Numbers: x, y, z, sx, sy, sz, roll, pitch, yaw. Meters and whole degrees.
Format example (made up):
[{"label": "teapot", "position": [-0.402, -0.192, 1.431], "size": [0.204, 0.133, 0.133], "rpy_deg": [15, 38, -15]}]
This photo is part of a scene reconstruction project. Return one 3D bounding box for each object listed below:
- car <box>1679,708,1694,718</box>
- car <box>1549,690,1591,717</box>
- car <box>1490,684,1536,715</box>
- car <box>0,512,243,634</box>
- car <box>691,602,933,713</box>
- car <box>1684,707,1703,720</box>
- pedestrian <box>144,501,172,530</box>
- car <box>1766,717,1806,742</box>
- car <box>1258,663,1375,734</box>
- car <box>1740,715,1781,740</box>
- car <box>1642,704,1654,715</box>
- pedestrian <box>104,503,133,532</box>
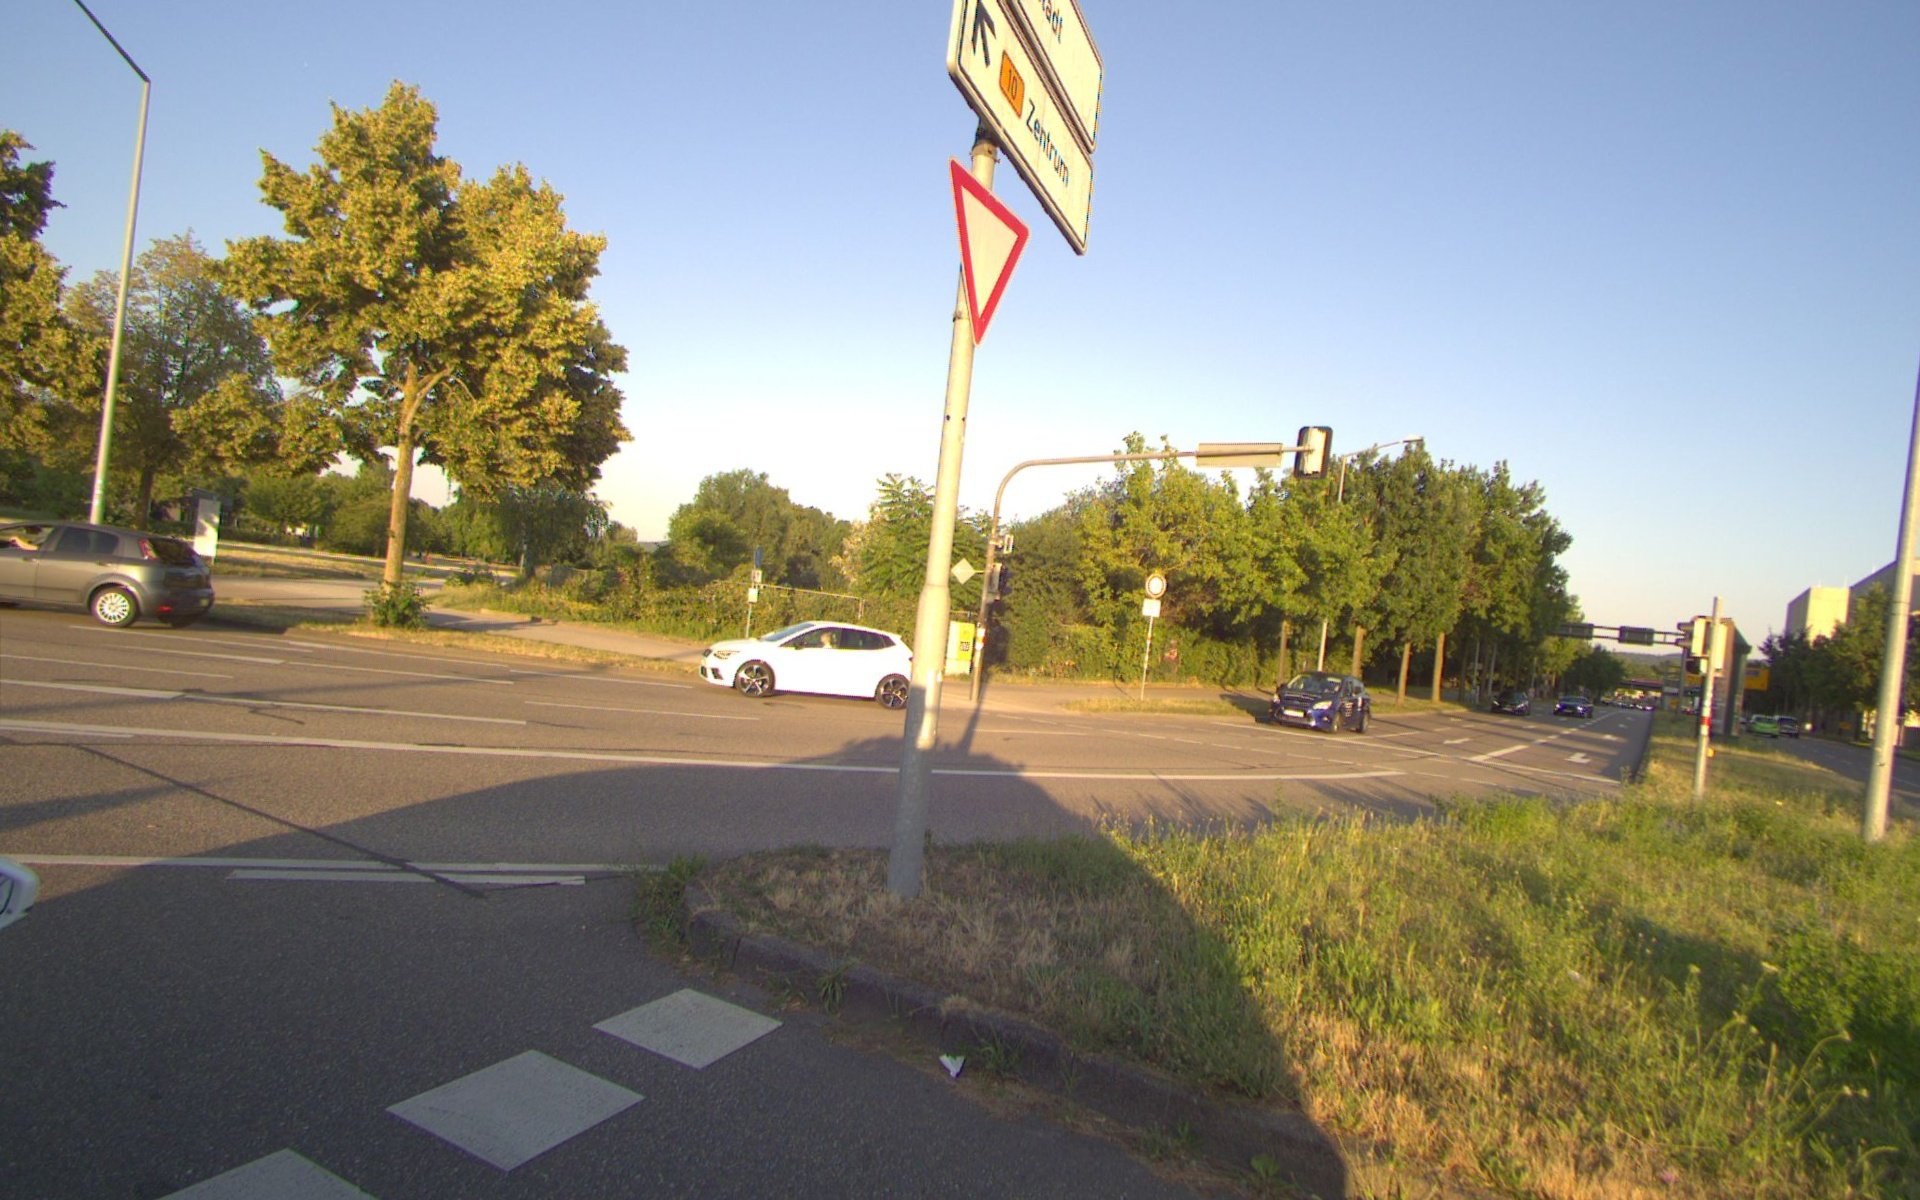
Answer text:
[{"label": "car", "position": [141.481, 21.922, 195.882], "size": [1.968, 1.648, 3.990], "rpy_deg": [7, -1, 34]}, {"label": "car", "position": [41.414, 7.021, 68.269], "size": [1.969, 1.523, 4.758], "rpy_deg": [7, -1, 35]}, {"label": "car", "position": [33.746, 6.081, 61.342], "size": [1.968, 1.523, 4.609], "rpy_deg": [7, -1, 34]}, {"label": "car", "position": [-13.834, -0.490, 15.438], "size": [4.092, 1.471, 1.865], "rpy_deg": [7, -1, -9]}, {"label": "car", "position": [-2.708, 1.041, 18.334], "size": [3.919, 1.471, 1.858], "rpy_deg": [8, 0, -23]}, {"label": "car", "position": [113.978, 17.573, 156.325], "size": [1.968, 1.648, 3.991], "rpy_deg": [6, -1, 33]}, {"label": "pedestrian", "position": [-51.937, -5.463, 65.179], "size": [0.896, 1.637, 1.070], "rpy_deg": [7, 0, 34]}, {"label": "car", "position": [66.843, 10.472, 81.454], "size": [1.705, 1.596, 4.322], "rpy_deg": [7, -1, 31]}, {"label": "car", "position": [9.875, 2.706, 27.669], "size": [1.886, 1.602, 4.169], "rpy_deg": [5, -2, 35]}, {"label": "car", "position": [57.424, 9.122, 72.191], "size": [1.662, 1.437, 3.992], "rpy_deg": [7, -1, 32]}, {"label": "car", "position": [146.327, 23.258, 213.979], "size": [1.969, 2.037, 3.991], "rpy_deg": [6, -2, 35]}, {"label": "pedestrian", "position": [-53.384, -5.258, 63.803], "size": [0.896, 1.637, 1.070], "rpy_deg": [7, 0, 34]}]
